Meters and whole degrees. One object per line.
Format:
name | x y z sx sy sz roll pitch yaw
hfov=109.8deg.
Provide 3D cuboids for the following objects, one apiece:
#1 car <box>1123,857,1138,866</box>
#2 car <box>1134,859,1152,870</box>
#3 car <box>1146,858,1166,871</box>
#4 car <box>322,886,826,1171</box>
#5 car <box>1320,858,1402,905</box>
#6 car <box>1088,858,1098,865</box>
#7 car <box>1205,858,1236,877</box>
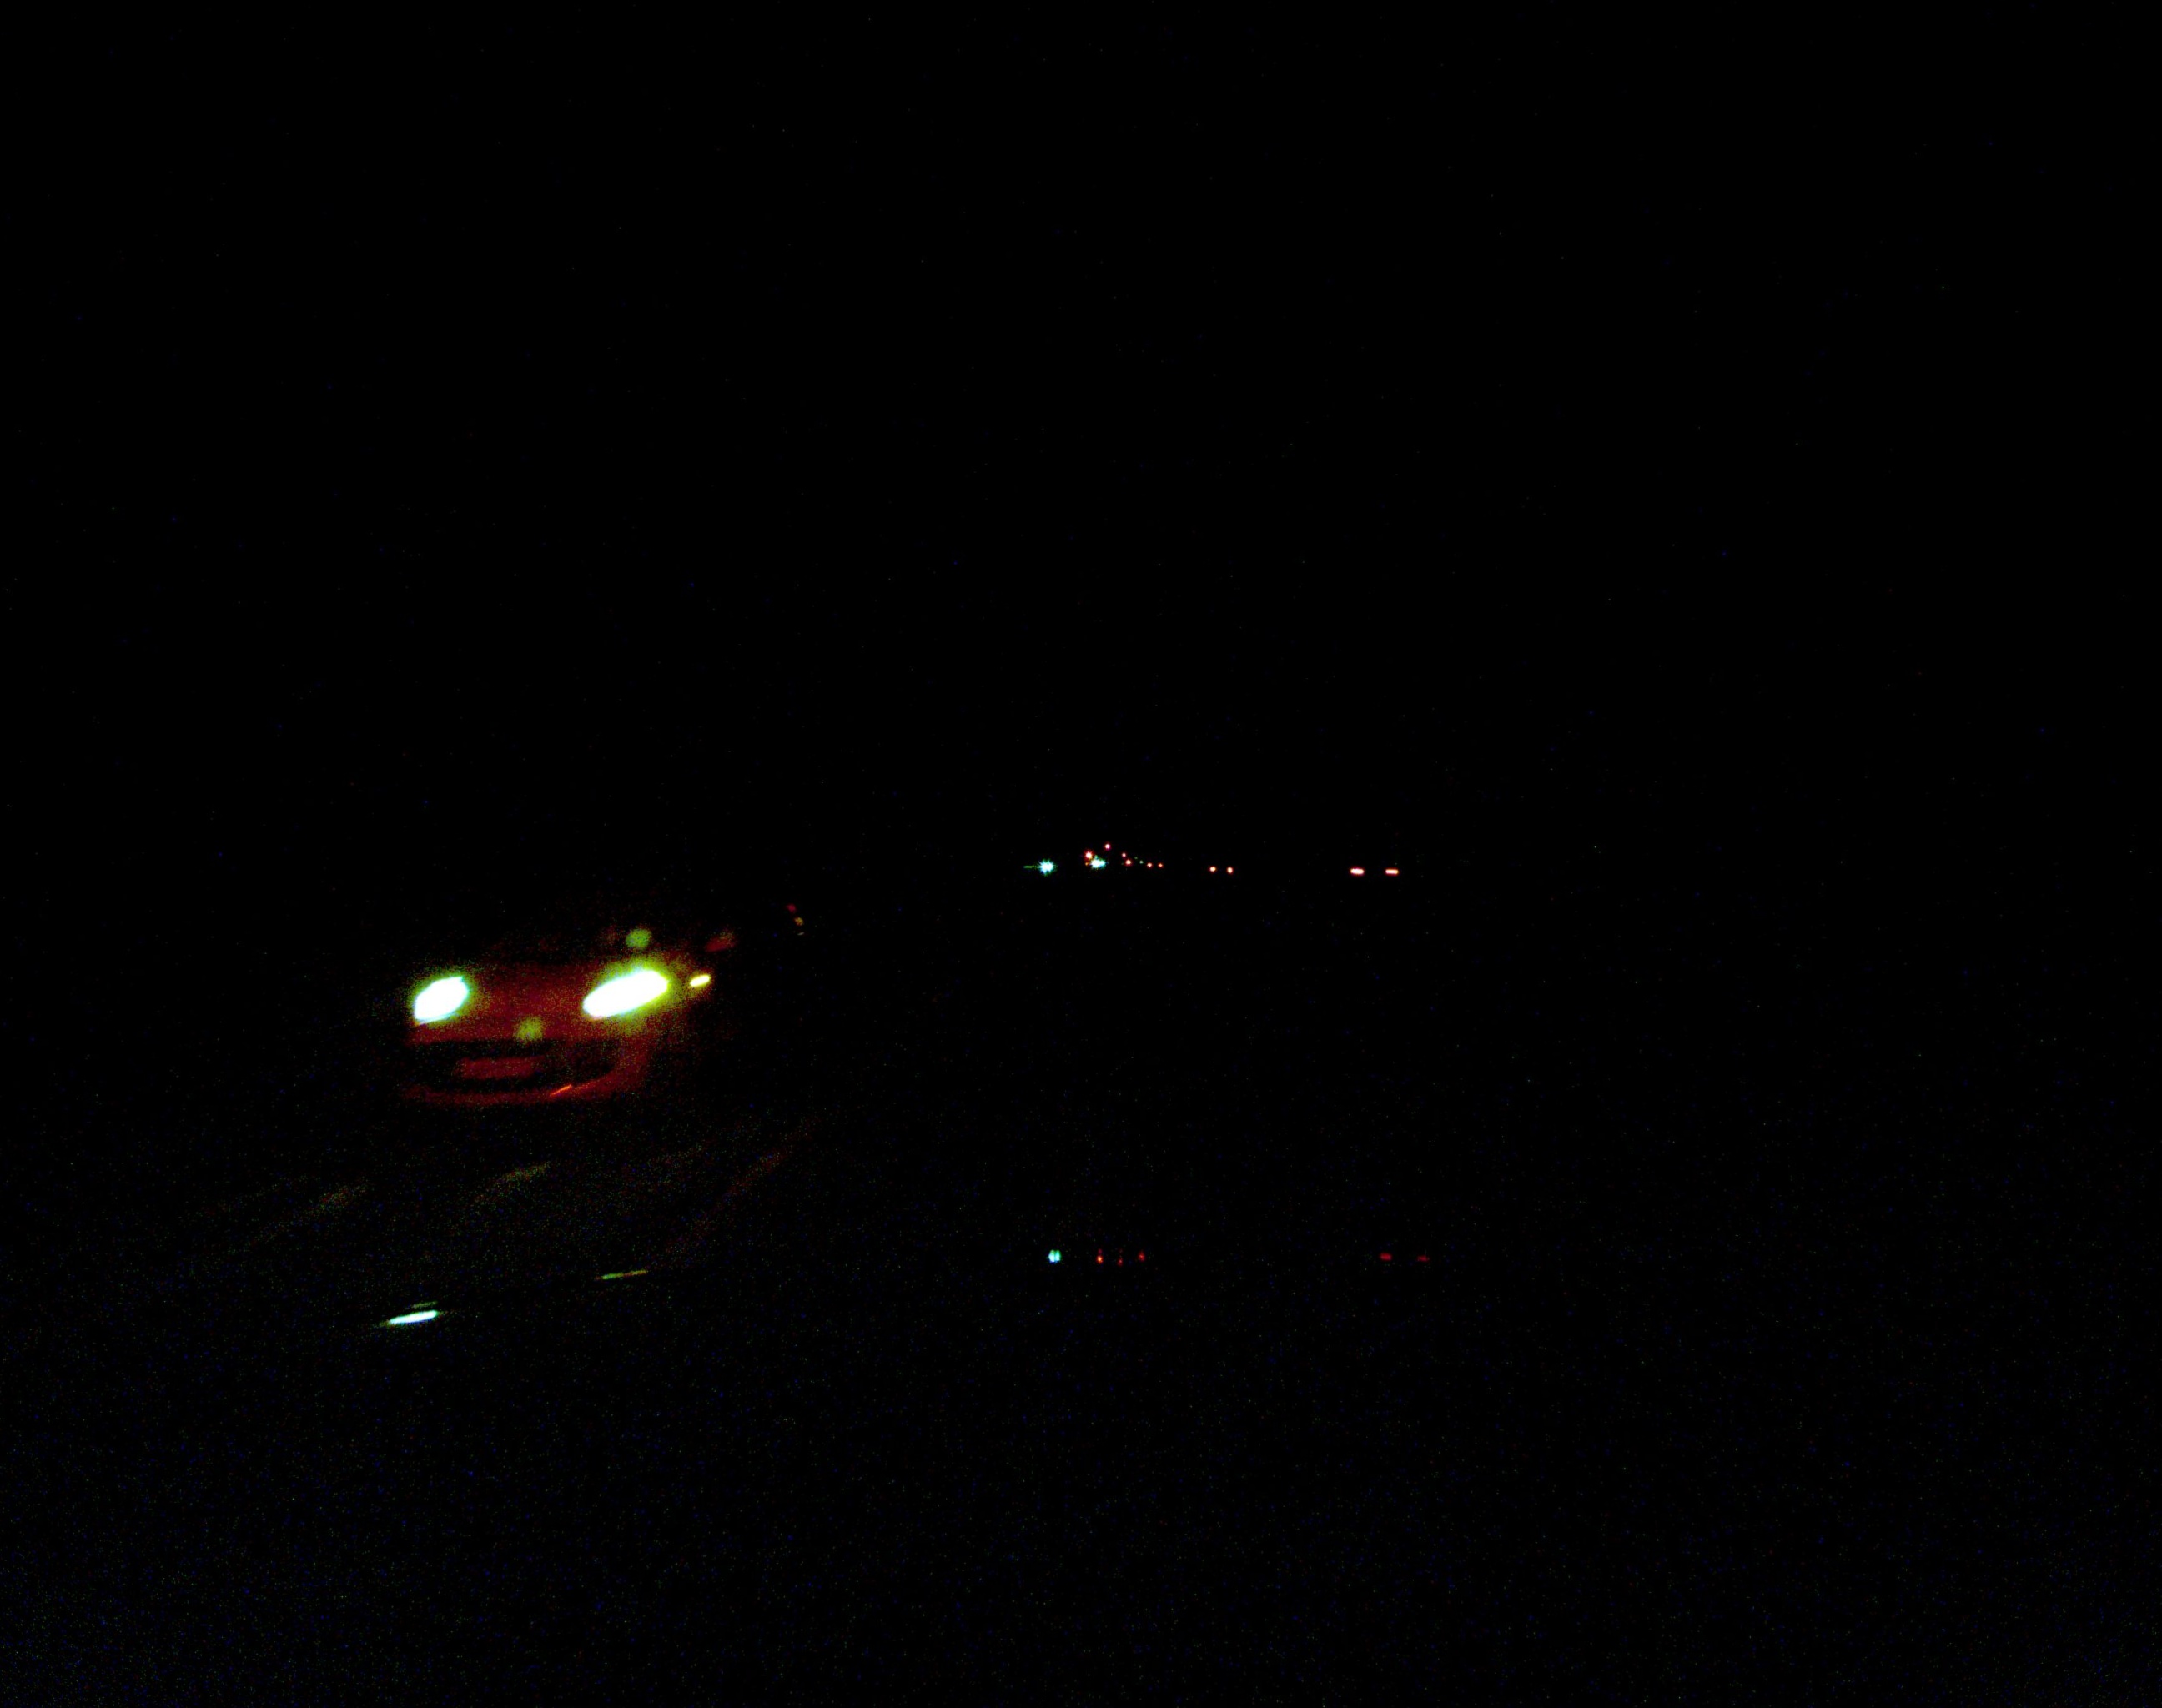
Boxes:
car | 9.137 1.390 139.391 2.128 1.544 4.697 -1 0 -4
car | 9.659 1.611 119.173 2.128 1.544 4.697 -1 0 -4
car | 10.029 1.382 101.829 2.127 1.621 4.698 -1 0 0
car | -3.485 1.072 6.096 1.657 1.442 3.489 -2 0 0
car | 9.715 0.911 26.615 1.549 1.511 3.516 1 0 0
car | 2.646 1.587 166.564 1.931 1.510 3.999 -1 0 -1
car | 11.762 1.119 64.211 1.958 1.478 4.699 1 0 2
